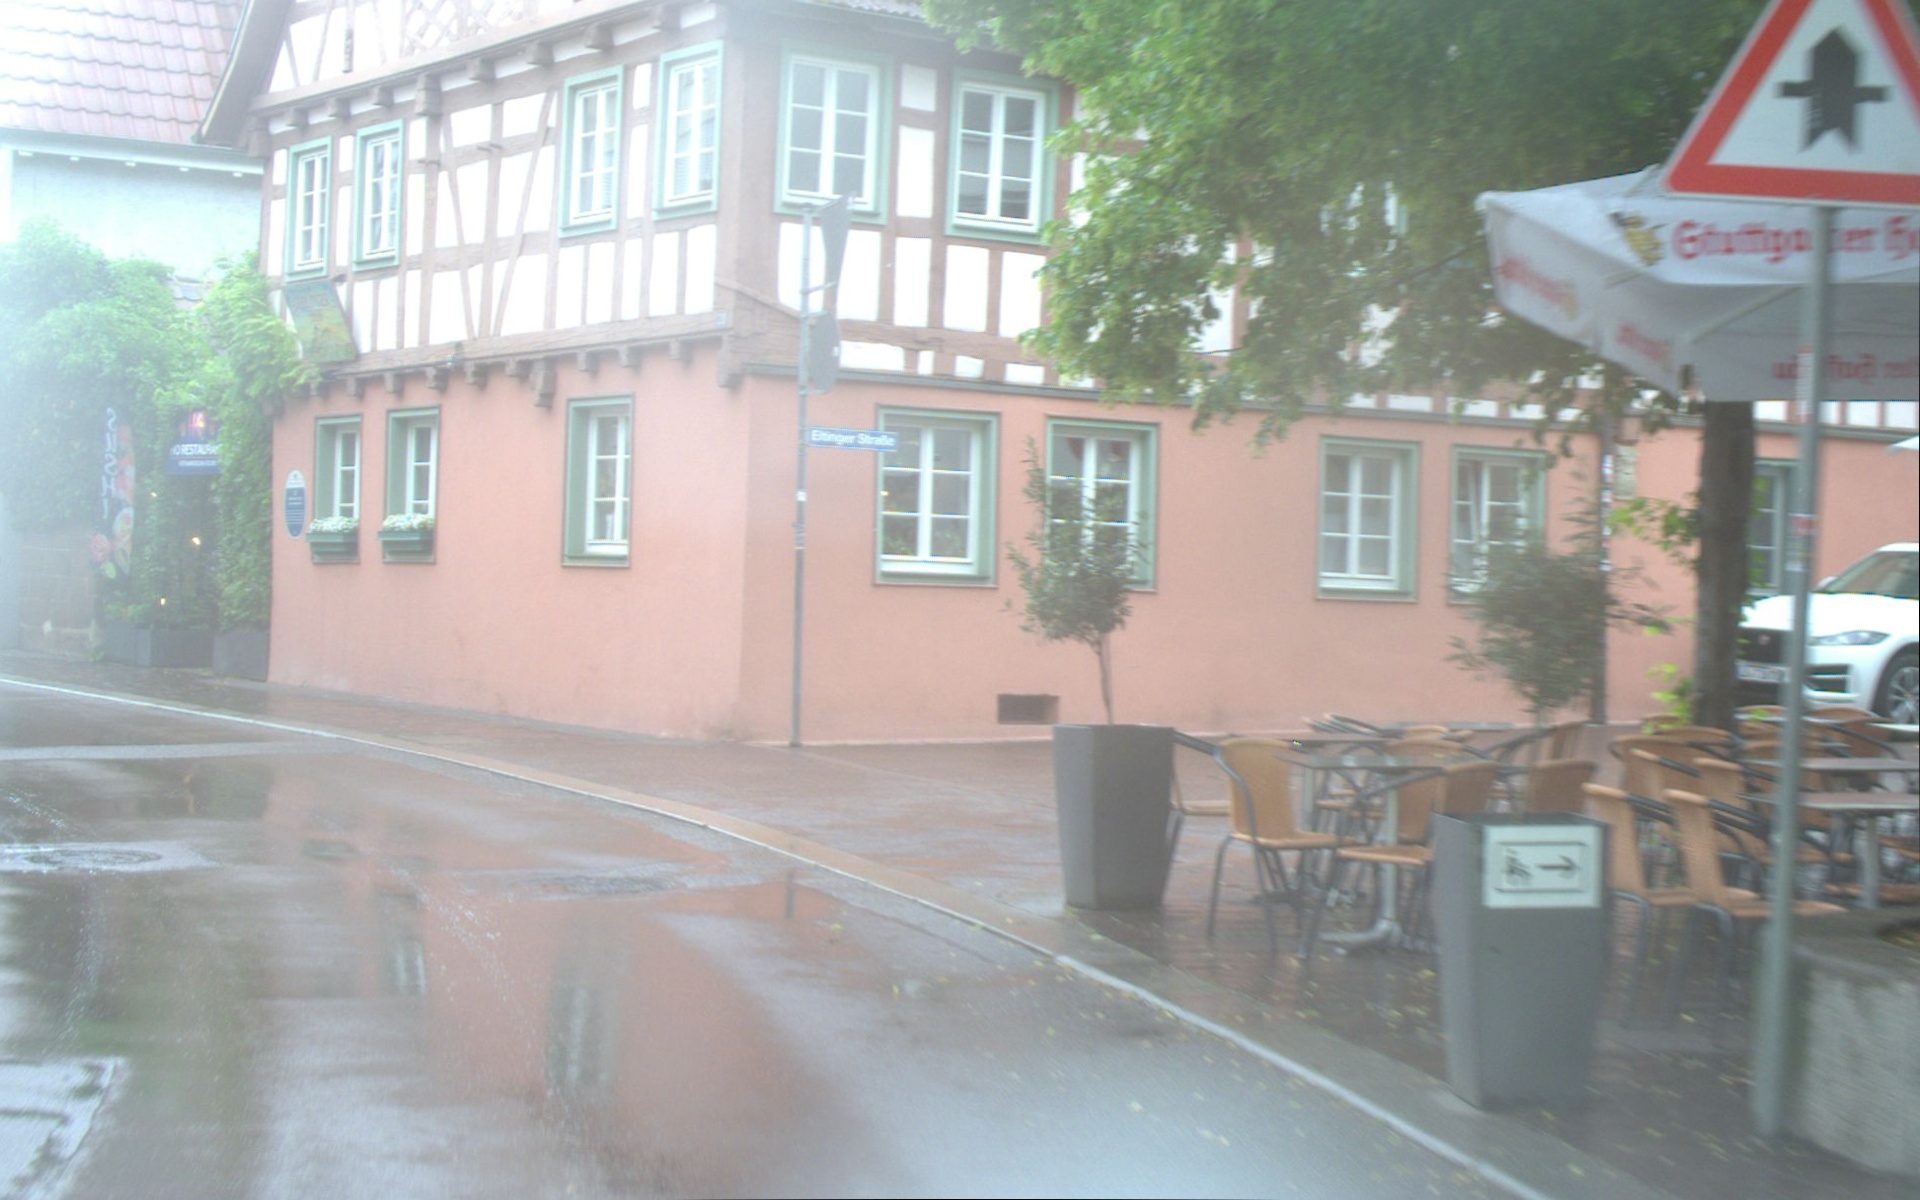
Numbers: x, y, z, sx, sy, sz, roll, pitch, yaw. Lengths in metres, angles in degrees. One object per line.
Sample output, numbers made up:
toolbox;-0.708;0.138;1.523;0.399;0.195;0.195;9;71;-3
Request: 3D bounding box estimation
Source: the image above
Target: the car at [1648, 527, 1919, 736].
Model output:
car;8.409;0.239;29.899;4.600;1.627;2.000;0;3;-32
